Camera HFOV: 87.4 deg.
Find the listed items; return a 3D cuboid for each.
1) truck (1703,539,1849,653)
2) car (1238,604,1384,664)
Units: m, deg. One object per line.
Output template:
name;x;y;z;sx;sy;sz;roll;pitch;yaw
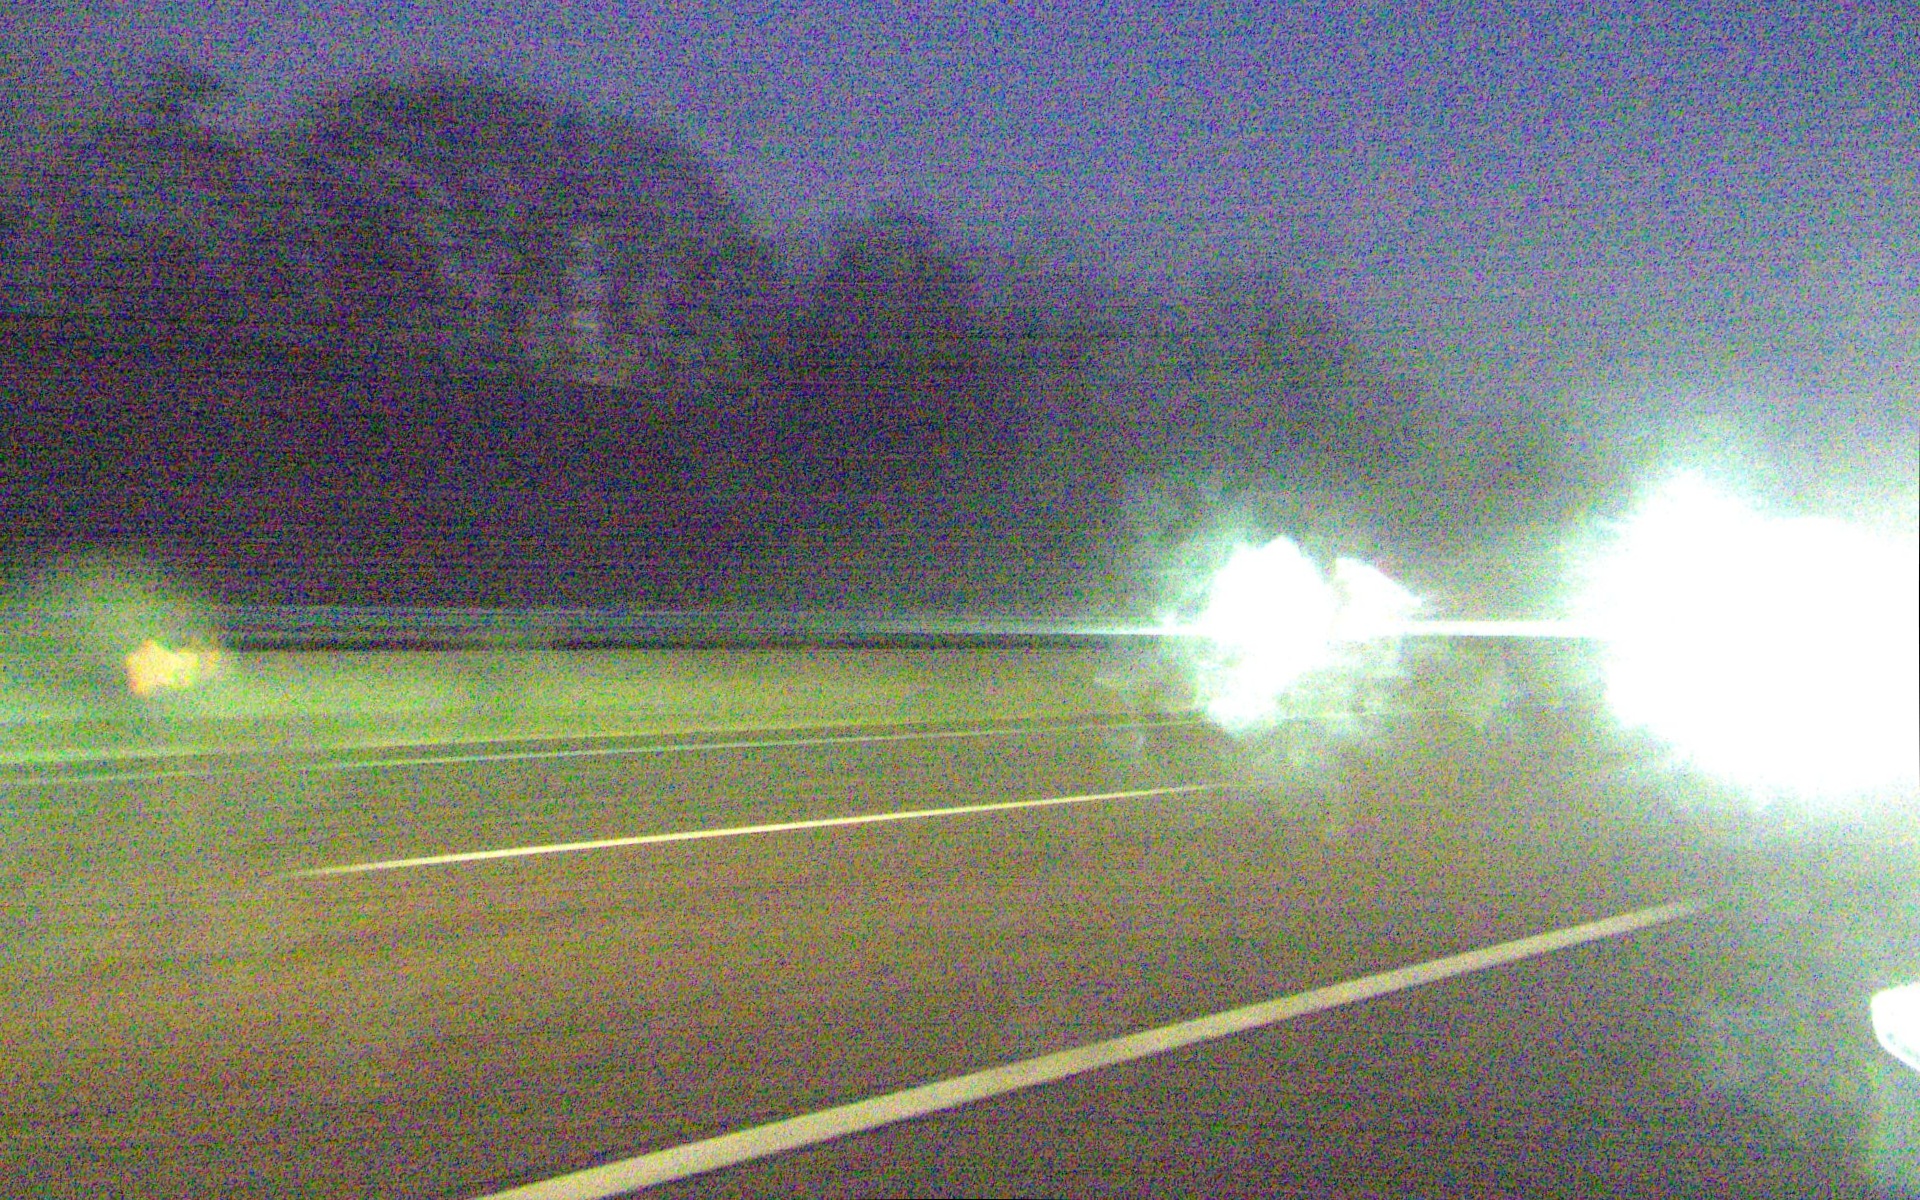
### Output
truck;47.349;-0.184;58.272;7.259;6.210;4.147;2;1;-30
car;10.795;1.031;30.877;4.204;1.665;1.983;2;0;-31
